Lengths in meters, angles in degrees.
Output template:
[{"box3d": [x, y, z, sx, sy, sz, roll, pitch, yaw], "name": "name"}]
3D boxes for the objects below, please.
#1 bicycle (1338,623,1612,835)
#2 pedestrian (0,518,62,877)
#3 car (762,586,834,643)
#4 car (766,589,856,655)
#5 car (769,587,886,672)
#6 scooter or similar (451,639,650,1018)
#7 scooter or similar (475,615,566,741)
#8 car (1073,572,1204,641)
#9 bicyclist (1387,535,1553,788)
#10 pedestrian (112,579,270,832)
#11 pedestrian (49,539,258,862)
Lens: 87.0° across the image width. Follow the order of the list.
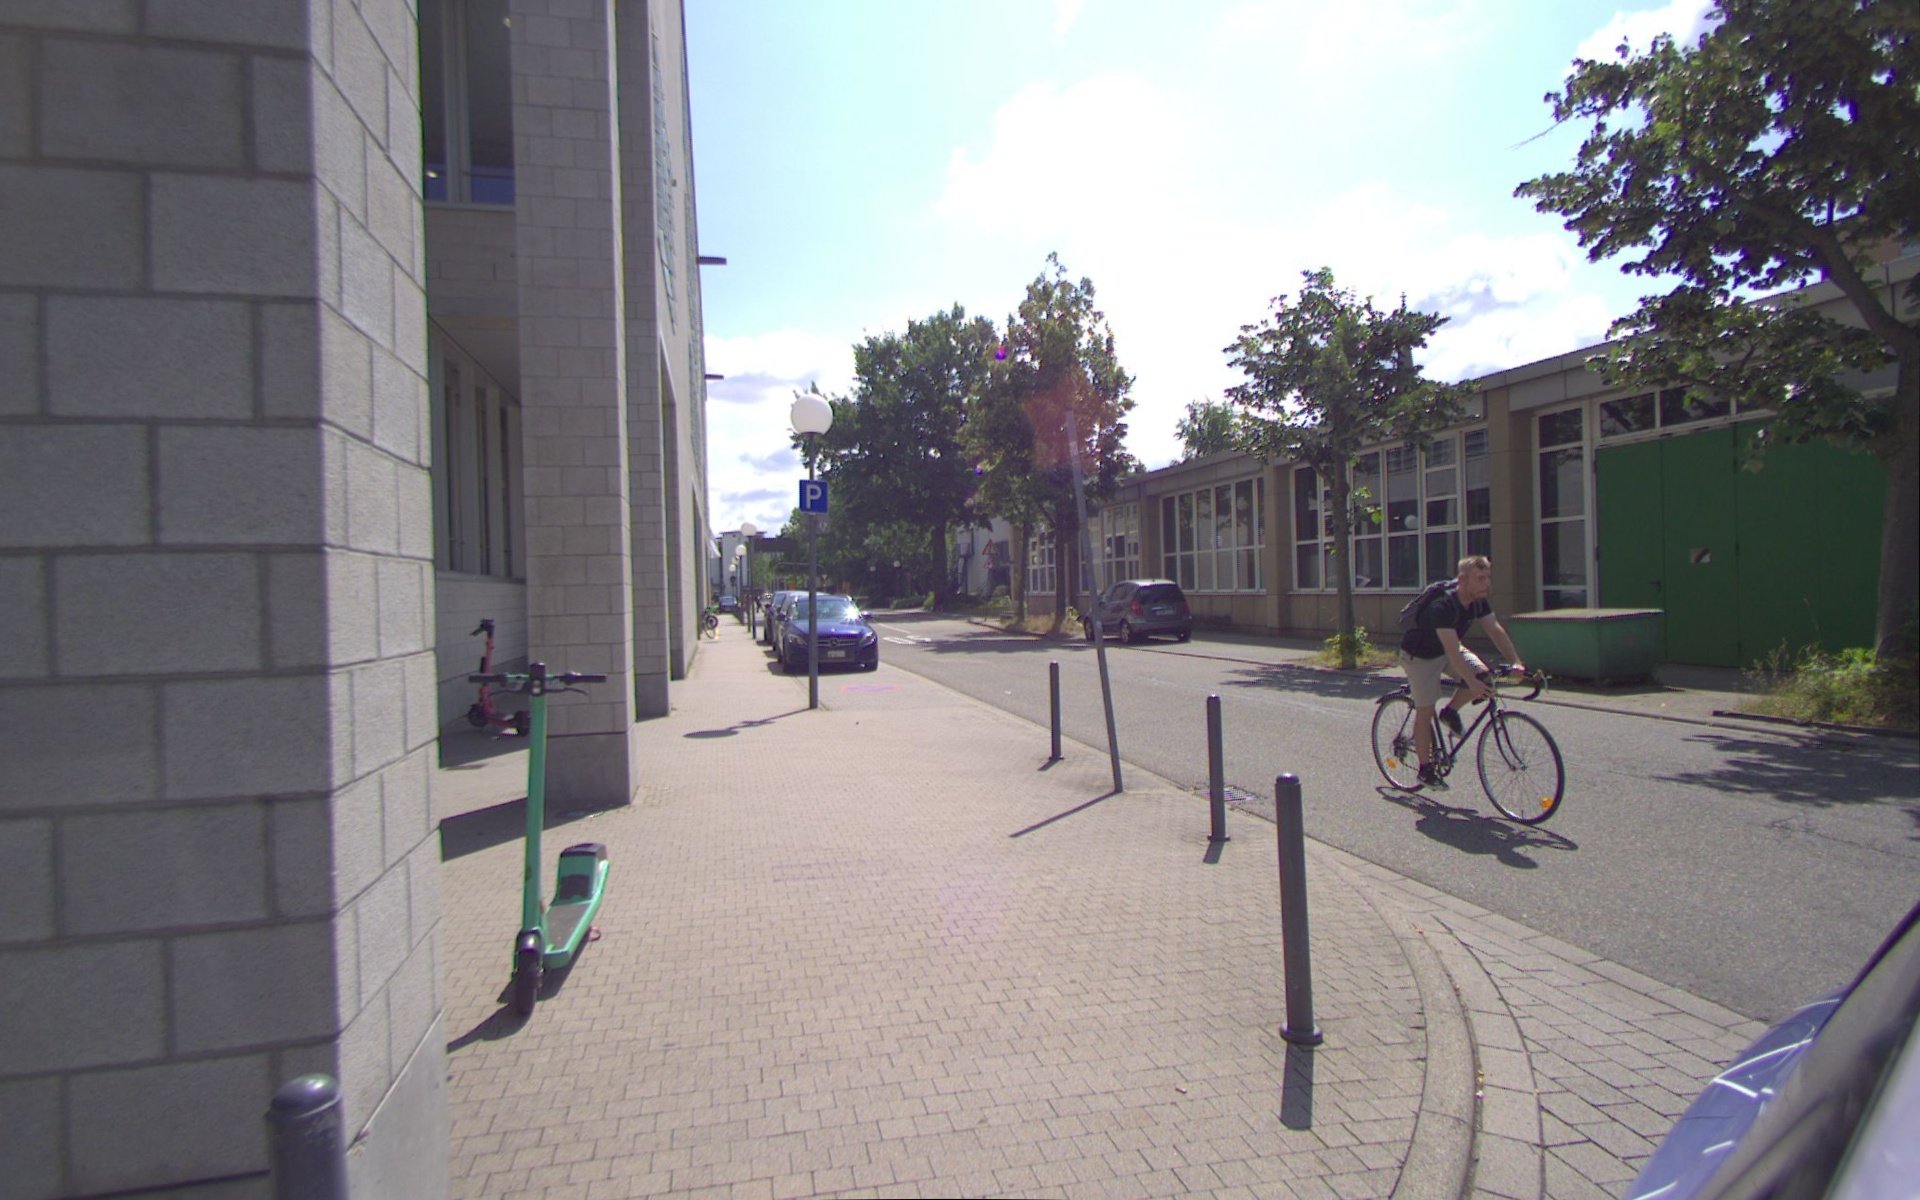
[{"box3d": [3.362, 0.773, 6.829, 0.592, 1.121, 1.834, -3, 1, -11], "name": "bicycle"}, {"box3d": [-5.120, 0.493, 4.954, 0.774, 1.745, 0.850, -2, 1, 34], "name": "pedestrian"}, {"box3d": [-5.104, 0.398, 31.423, 1.813, 1.601, 4.143, -1, 1, -14], "name": "car"}, {"box3d": [-3.860, 0.480, 25.713, 1.813, 1.494, 4.143, -1, 1, -14], "name": "car"}, {"box3d": [-2.770, 0.510, 20.390, 1.813, 1.494, 4.143, -1, 1, -14], "name": "car"}, {"box3d": [-1.520, 0.769, 3.903, 0.435, 1.165, 1.160, -1, 1, -9], "name": "scooter or similar"}, {"box3d": [-4.704, 0.793, 10.804, 1.423, 1.239, 0.353, -1, 1, 44], "name": "scooter or similar"}, {"box3d": [4.626, 0.128, 26.839, 1.813, 1.597, 4.143, -3, 1, -14], "name": "car"}, {"box3d": [3.368, 0.374, 6.730, 0.592, 1.553, 0.729, -3, 1, -11], "name": "bicyclist"}, {"box3d": [-5.299, 0.677, 7.003, 0.812, 1.619, 0.589, -1, 0, -38], "name": "pedestrian"}, {"box3d": [-4.573, 0.524, 5.807, 0.688, 1.676, 0.884, -1, -1, -21], "name": "pedestrian"}]
